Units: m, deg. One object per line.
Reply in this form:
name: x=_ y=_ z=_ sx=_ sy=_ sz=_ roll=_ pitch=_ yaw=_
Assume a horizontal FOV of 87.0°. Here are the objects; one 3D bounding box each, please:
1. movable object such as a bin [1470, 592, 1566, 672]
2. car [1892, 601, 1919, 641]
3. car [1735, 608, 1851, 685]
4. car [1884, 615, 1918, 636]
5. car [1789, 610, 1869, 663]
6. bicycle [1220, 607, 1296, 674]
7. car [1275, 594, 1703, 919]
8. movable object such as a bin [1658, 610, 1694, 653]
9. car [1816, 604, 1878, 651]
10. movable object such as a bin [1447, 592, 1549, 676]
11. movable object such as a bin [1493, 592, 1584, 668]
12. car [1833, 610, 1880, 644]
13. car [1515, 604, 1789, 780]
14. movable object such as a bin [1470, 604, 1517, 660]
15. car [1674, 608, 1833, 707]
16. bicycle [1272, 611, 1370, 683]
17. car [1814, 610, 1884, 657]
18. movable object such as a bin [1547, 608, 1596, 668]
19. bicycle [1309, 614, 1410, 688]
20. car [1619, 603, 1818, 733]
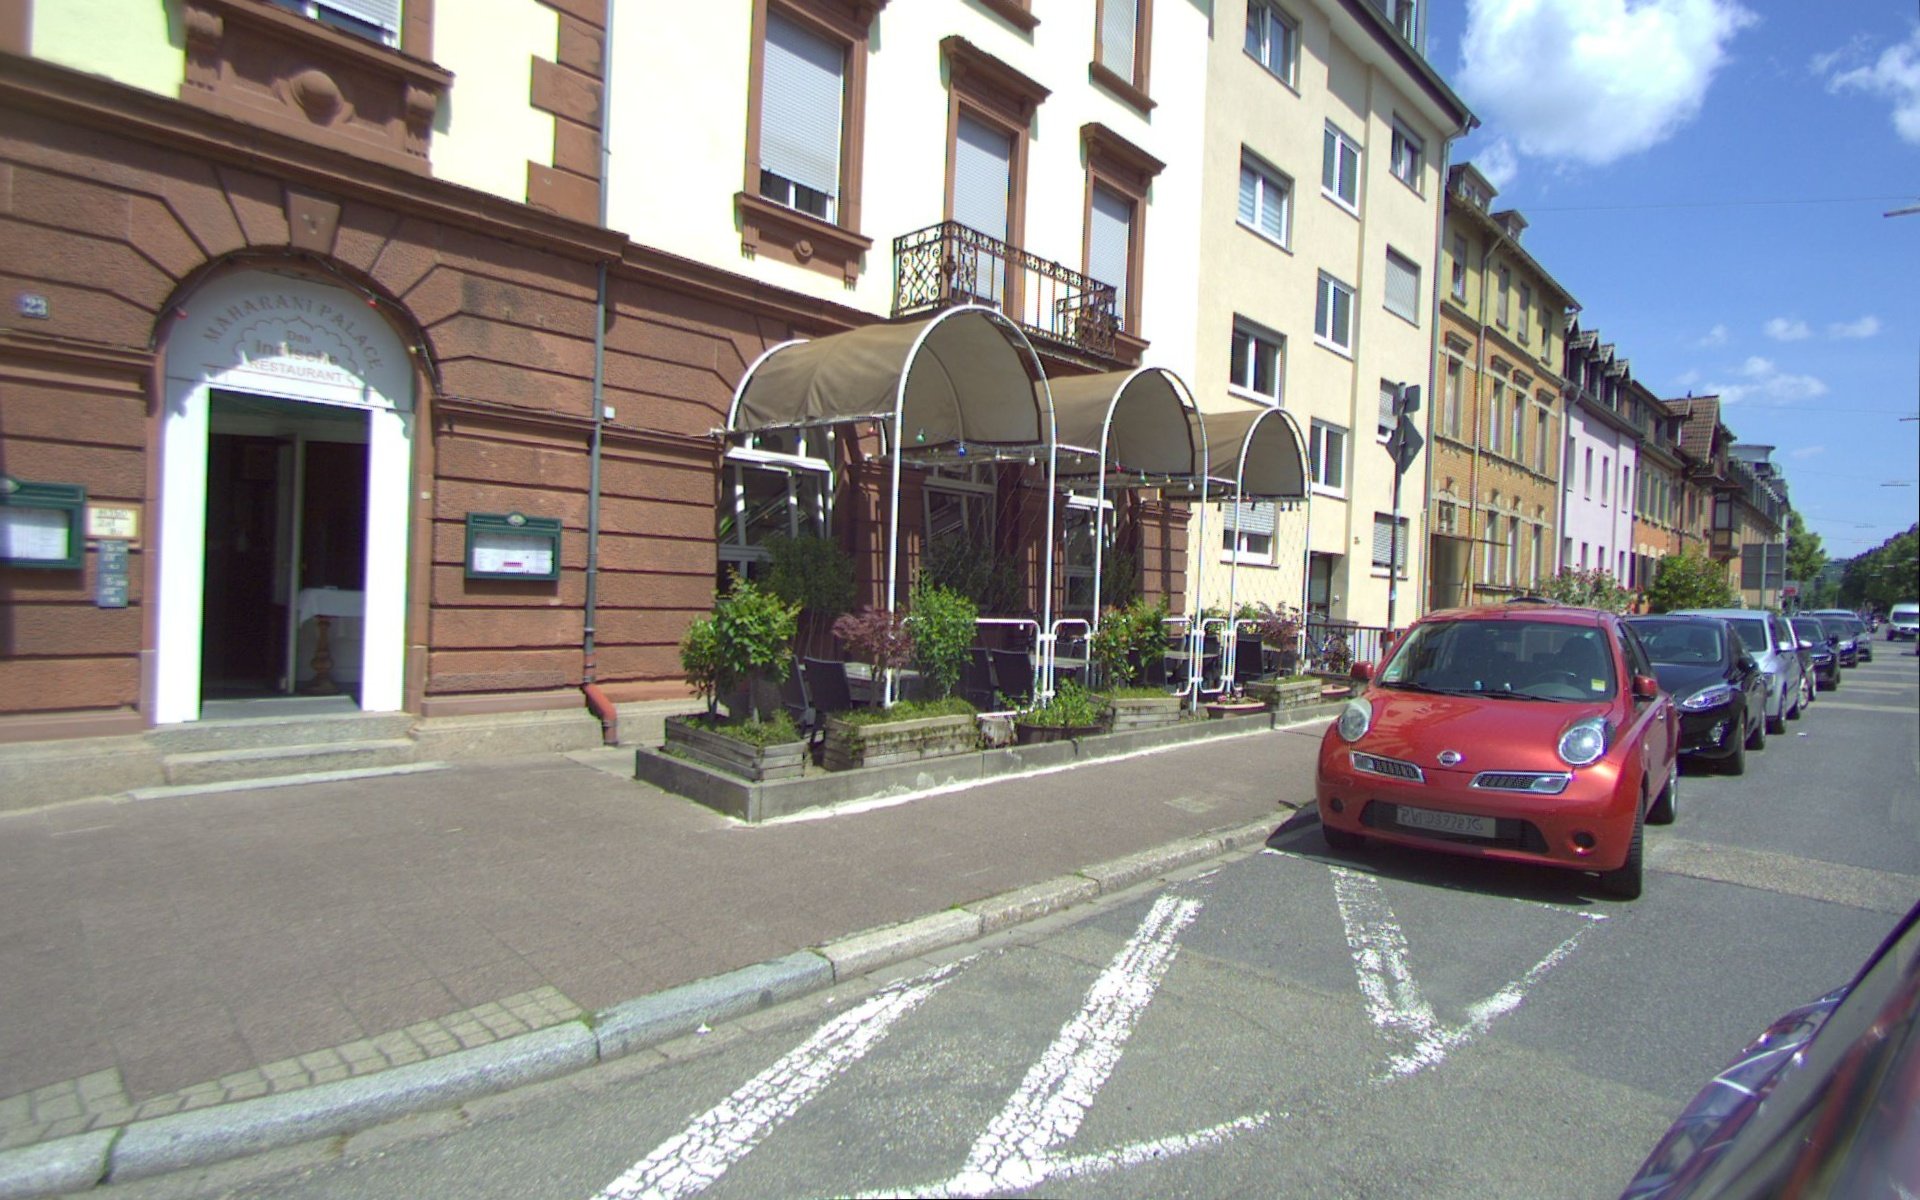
movable object such as a bin: x=10.800 y=0.594 z=19.578 sx=1.283 sy=1.413 sz=1.342 roll=3 pitch=1 yaw=44
car: x=57.631 y=1.269 z=61.110 sx=1.899 sy=2.303 sz=5.585 roll=2 pitch=0 yaw=42
car: x=18.072 y=0.937 z=21.884 sx=1.756 sy=1.498 sz=4.351 roll=0 pitch=-1 yaw=42
car: x=75.253 y=2.008 z=80.903 sx=1.900 sy=1.516 sz=4.416 roll=2 pitch=1 yaw=44
car: x=26.298 y=1.063 z=30.593 sx=1.703 sy=1.498 sz=3.870 roll=0 pitch=-1 yaw=43
bicycle: x=4.723 y=0.620 z=15.977 sx=0.550 sy=0.995 sz=1.607 roll=2 pitch=0 yaw=38
car: x=3.670 y=0.746 z=6.685 sx=1.755 sy=1.498 sz=3.728 roll=0 pitch=-1 yaw=40
movable object such as a bin: x=21.717 y=0.947 z=30.705 sx=0.751 sy=1.257 sz=0.864 roll=3 pitch=1 yaw=42
car: x=34.147 y=1.031 z=38.943 sx=1.703 sy=1.732 sz=3.870 roll=0 pitch=-1 yaw=43
movable object such as a bin: x=9.860 y=0.600 z=18.548 sx=1.283 sy=1.413 sz=1.390 roll=3 pitch=1 yaw=44
movable object such as a bin: x=11.742 y=0.588 z=20.543 sx=1.283 sy=1.428 sz=1.284 roll=3 pitch=1 yaw=44
car: x=45.411 y=1.343 z=51.219 sx=1.703 sy=1.648 sz=3.870 roll=0 pitch=-1 yaw=43
car: x=7.385 y=0.814 z=10.656 sx=1.757 sy=1.498 sz=3.868 roll=0 pitch=-1 yaw=44
movable object such as a bin: x=11.773 y=0.695 z=22.325 sx=0.721 sy=1.182 sz=0.735 roll=3 pitch=1 yaw=43
car: x=13.704 y=0.909 z=17.394 sx=1.757 sy=1.498 sz=3.868 roll=0 pitch=-1 yaw=44
bicycle: x=5.412 y=0.691 z=15.137 sx=1.598 sy=0.995 sz=0.553 roll=2 pitch=0 yaw=-36
car: x=30.552 y=1.125 z=34.747 sx=1.703 sy=1.498 sz=3.870 roll=0 pitch=-1 yaw=43
movable object such as a bin: x=12.889 y=0.781 z=21.321 sx=0.721 sy=1.202 sz=0.735 roll=3 pitch=1 yaw=43
bicycle: x=5.793 y=0.722 z=14.655 sx=1.598 sy=0.995 sz=0.553 roll=2 pitch=0 yaw=-36
car: x=10.781 y=0.846 z=14.274 sx=1.757 sy=1.571 sz=4.000 roll=0 pitch=-1 yaw=44
